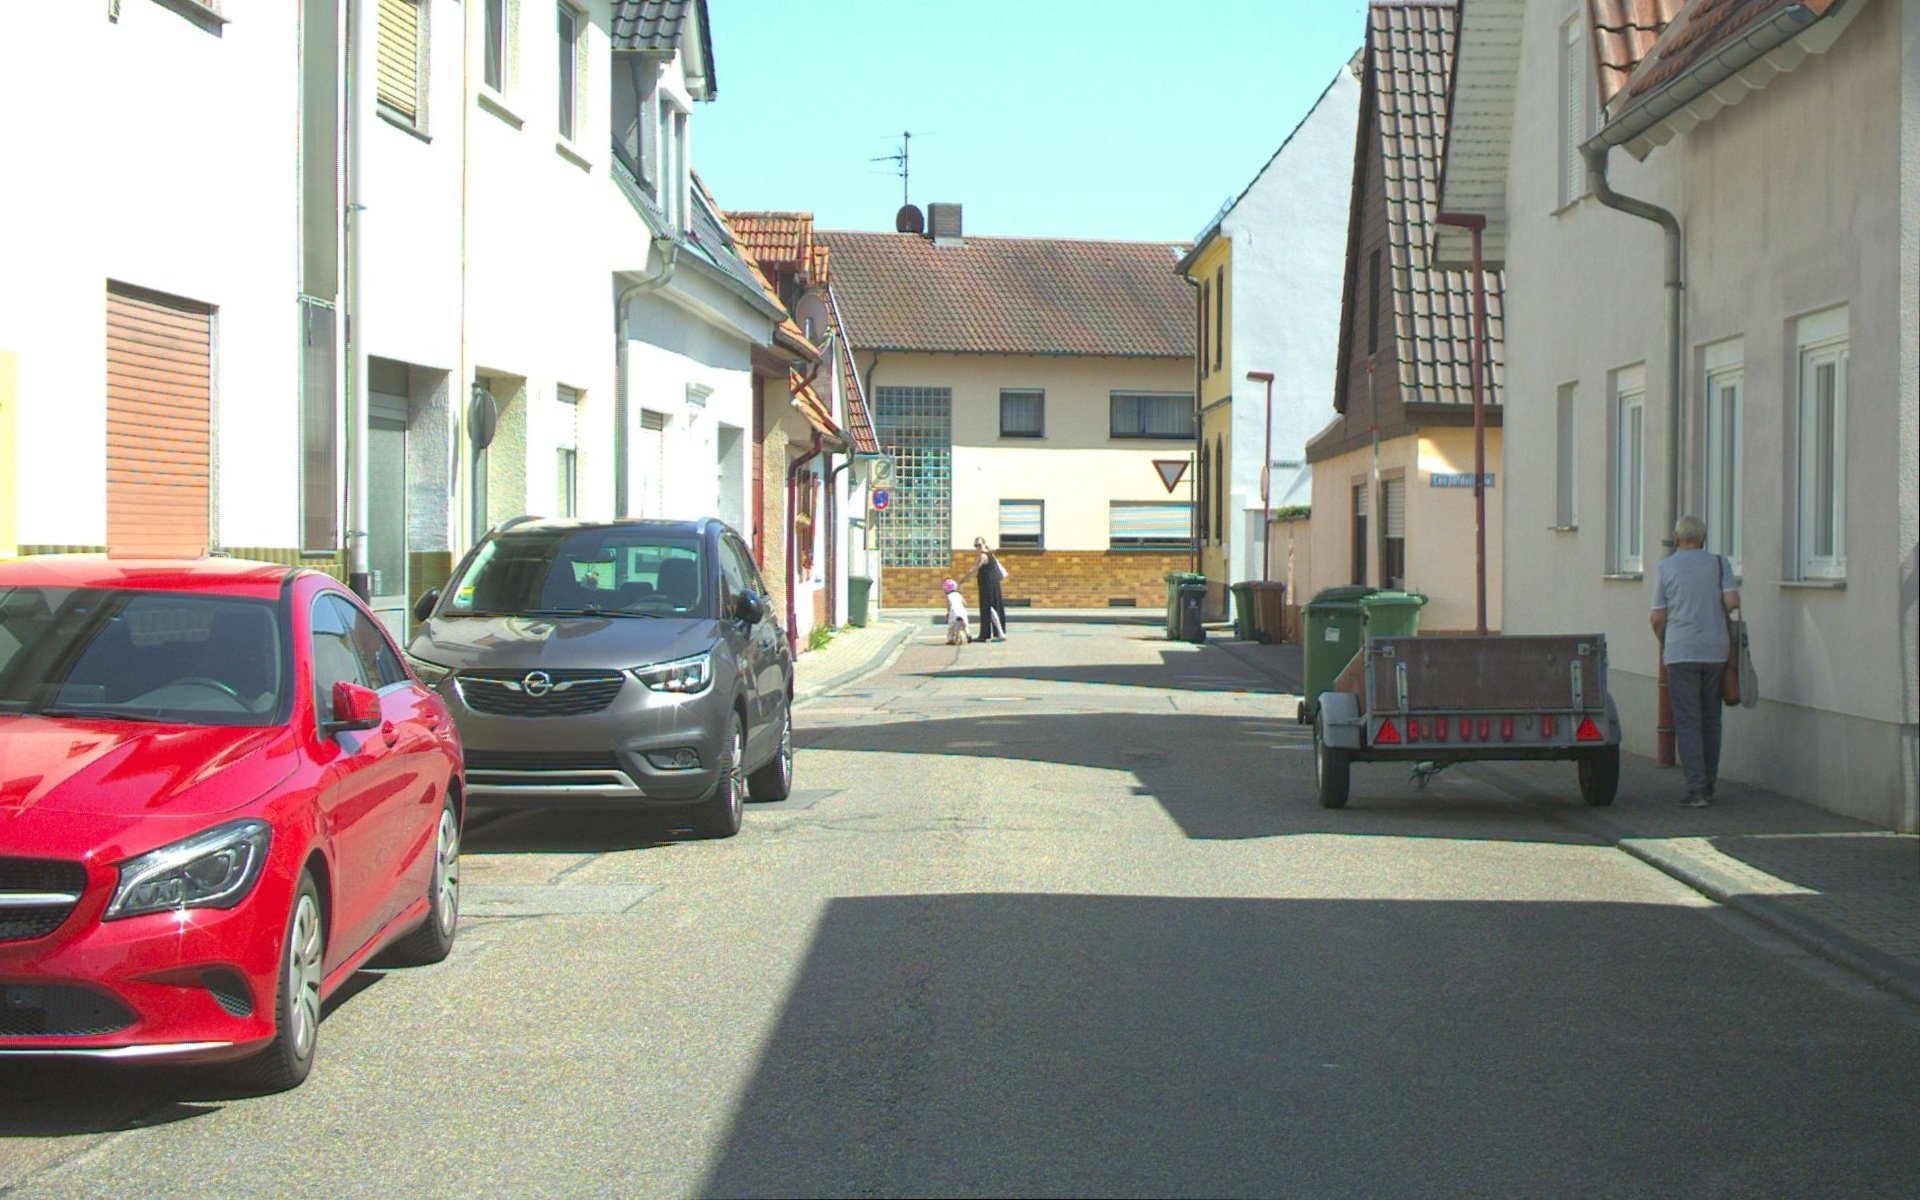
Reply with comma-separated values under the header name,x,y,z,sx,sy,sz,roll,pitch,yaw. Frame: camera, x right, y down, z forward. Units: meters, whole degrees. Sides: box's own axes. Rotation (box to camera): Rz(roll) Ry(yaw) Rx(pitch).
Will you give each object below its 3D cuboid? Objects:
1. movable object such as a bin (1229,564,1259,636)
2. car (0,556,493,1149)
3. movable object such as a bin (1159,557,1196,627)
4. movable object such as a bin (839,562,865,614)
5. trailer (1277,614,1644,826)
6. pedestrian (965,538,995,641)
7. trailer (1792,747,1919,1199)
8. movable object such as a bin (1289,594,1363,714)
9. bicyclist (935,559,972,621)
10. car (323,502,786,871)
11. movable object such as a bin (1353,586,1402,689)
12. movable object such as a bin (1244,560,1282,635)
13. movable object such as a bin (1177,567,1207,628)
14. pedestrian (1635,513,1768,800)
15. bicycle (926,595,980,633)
name,x,y,z,sx,sy,sz,roll,pitch,yaw
movable object such as a bin,4.490,-0.003,54.414,0.425,1.124,0.414,0,1,-1
car,-2.647,0.591,10.630,1.800,1.436,4.487,0,1,0
movable object such as a bin,3.518,-0.125,55.615,0.569,1.124,0.453,0,1,-1
movable object such as a bin,-1.920,-0.220,61.211,0.448,0.918,0.404,0,1,-1
trailer,2.815,0.642,19.981,1.699,1.029,3.481,0,1,1
pedestrian,0.311,-0.166,53.448,0.411,1.604,0.368,0,1,-8
trailer,2.474,0.870,4.953,1.817,1.086,3.481,0,1,2
movable object such as a bin,3.204,0.464,30.099,0.585,1.029,0.595,0,1,1
bicyclist,-0.100,-0.150,52.887,0.461,0.956,0.352,-1,0,-27
car,-2.016,0.373,18.361,1.800,1.698,4.487,-1,1,1
movable object such as a bin,4.433,0.392,36.527,0.457,1.083,0.502,0,1,1
movable object such as a bin,4.570,-0.038,51.844,0.525,1.124,0.366,0,1,-1
movable object such as a bin,3.710,-0.043,55.001,0.424,0.972,0.473,0,1,-1
pedestrian,4.086,0.319,18.965,0.595,1.559,0.557,0,-3,-1
bicycle,-0.112,0.208,52.911,0.441,0.565,0.939,-1,1,-27
